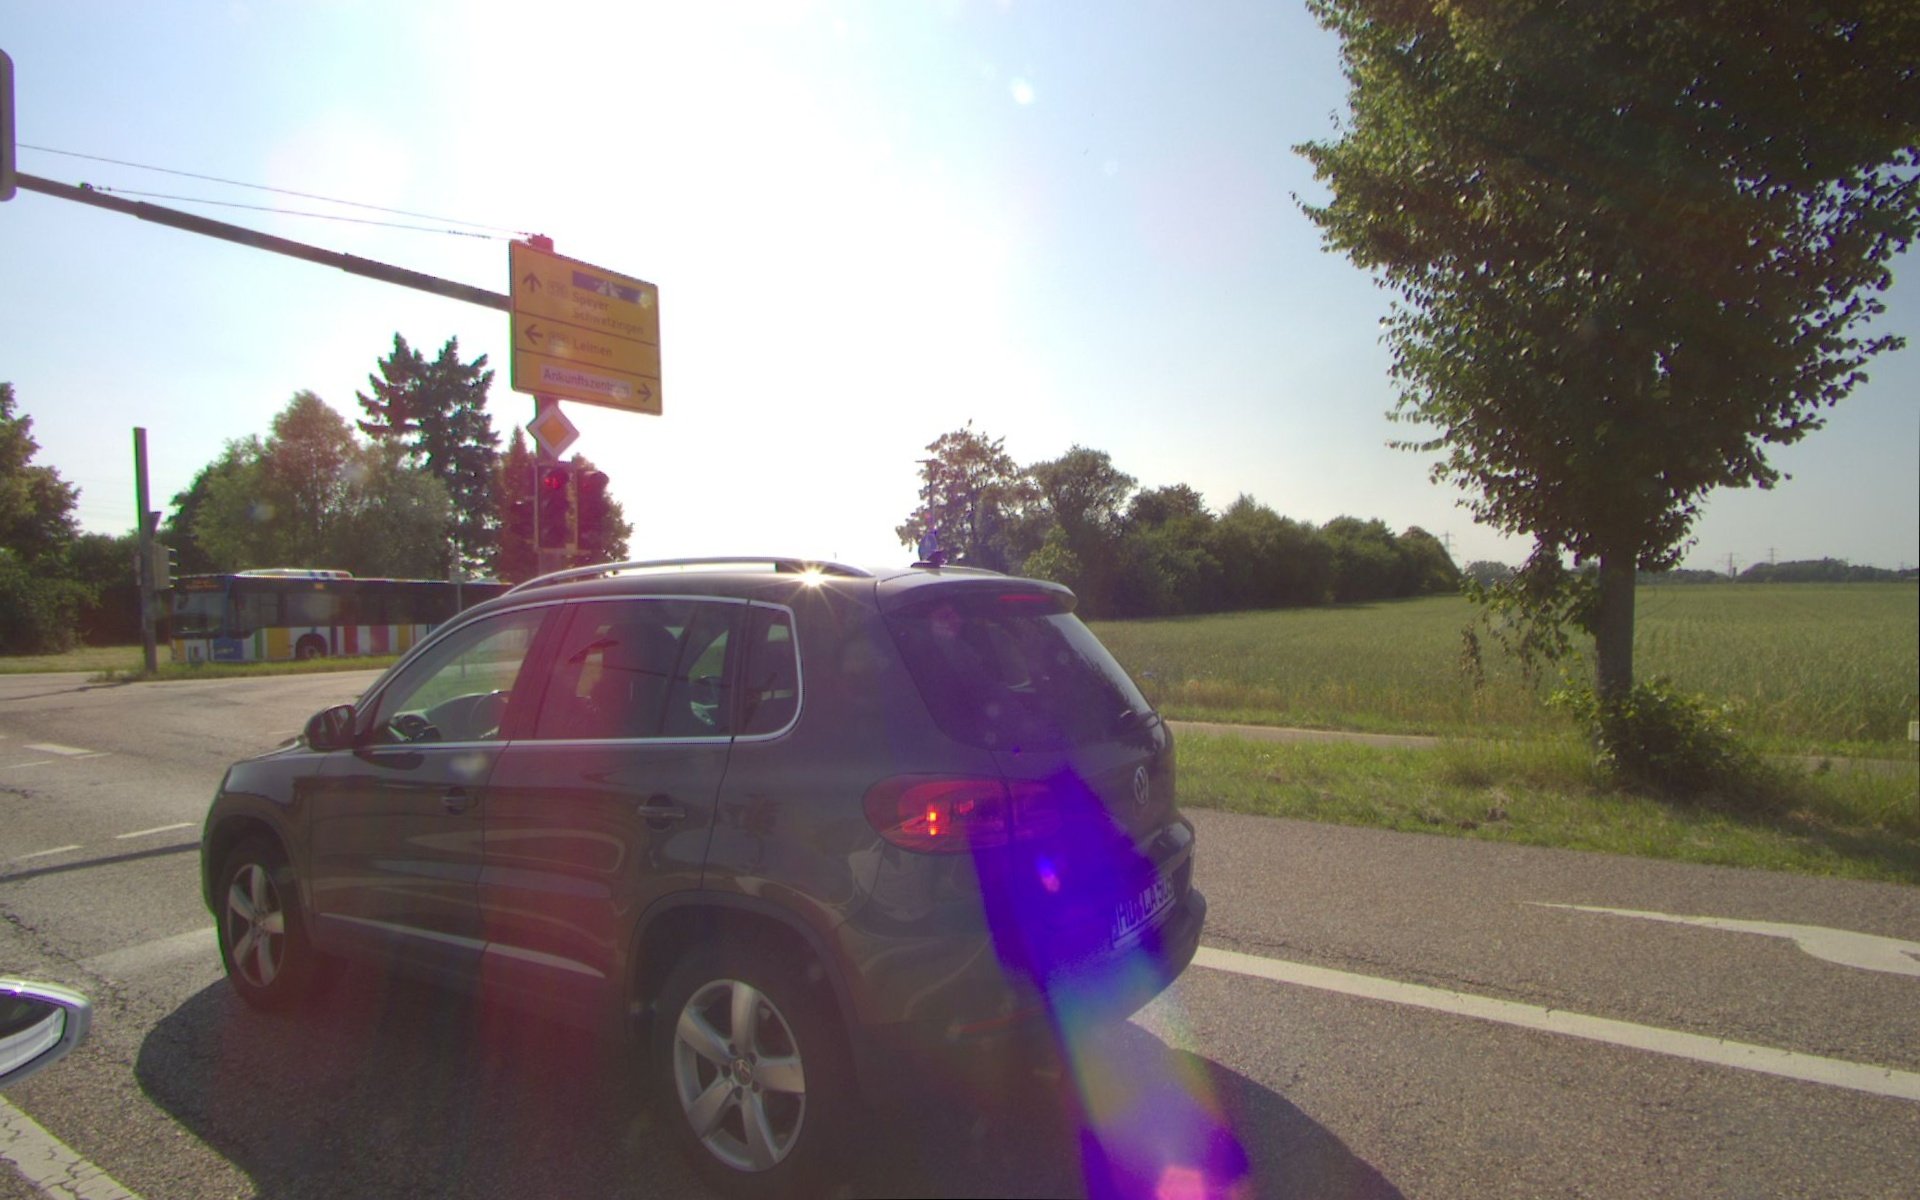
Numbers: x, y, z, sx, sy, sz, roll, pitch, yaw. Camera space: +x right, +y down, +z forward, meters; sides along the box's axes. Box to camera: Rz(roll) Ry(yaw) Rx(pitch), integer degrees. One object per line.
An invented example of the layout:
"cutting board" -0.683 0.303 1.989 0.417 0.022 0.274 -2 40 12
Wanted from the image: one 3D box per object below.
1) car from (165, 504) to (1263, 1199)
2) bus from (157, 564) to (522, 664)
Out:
"car" -1.120 0.695 3.848 4.086 1.677 1.753 -1 -2 32
"bus" -20.966 0.360 35.394 2.889 2.916 11.955 -1 1 17
